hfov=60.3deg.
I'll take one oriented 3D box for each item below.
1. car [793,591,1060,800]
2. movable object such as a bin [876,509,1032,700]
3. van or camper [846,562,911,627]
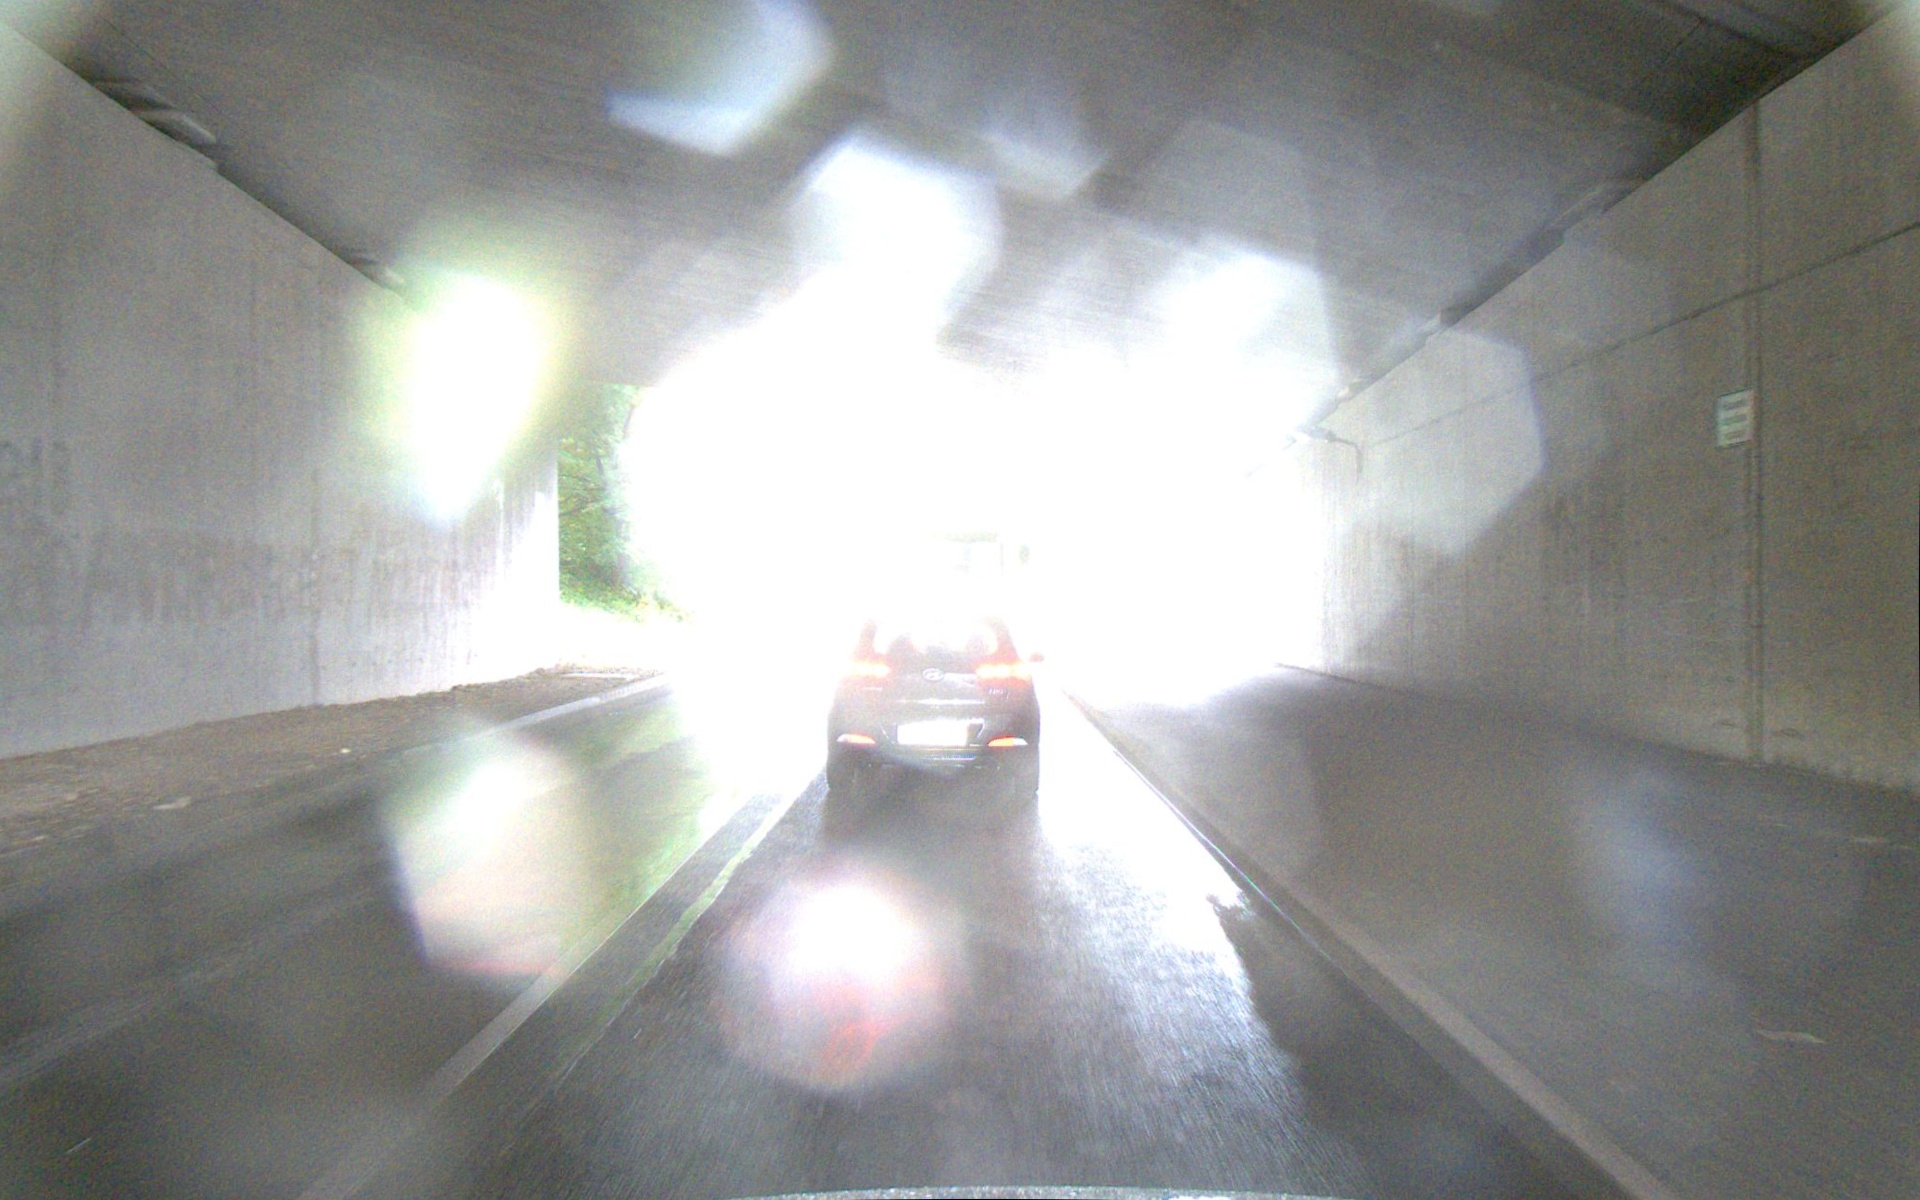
[{"bbox_3d":[-0.356,0.707,14.306,1.954,1.513,3.997,1,0,-3],"label":"car"},{"bbox_3d":[-0.144,0.055,27.402,2.200,2.716,6.625,1,0,-1],"label":"movable object such as a bin"},{"bbox_3d":[-2.823,-0.187,58.194,1.952,2.135,4.692,1,0,1],"label":"van or camper"}]
